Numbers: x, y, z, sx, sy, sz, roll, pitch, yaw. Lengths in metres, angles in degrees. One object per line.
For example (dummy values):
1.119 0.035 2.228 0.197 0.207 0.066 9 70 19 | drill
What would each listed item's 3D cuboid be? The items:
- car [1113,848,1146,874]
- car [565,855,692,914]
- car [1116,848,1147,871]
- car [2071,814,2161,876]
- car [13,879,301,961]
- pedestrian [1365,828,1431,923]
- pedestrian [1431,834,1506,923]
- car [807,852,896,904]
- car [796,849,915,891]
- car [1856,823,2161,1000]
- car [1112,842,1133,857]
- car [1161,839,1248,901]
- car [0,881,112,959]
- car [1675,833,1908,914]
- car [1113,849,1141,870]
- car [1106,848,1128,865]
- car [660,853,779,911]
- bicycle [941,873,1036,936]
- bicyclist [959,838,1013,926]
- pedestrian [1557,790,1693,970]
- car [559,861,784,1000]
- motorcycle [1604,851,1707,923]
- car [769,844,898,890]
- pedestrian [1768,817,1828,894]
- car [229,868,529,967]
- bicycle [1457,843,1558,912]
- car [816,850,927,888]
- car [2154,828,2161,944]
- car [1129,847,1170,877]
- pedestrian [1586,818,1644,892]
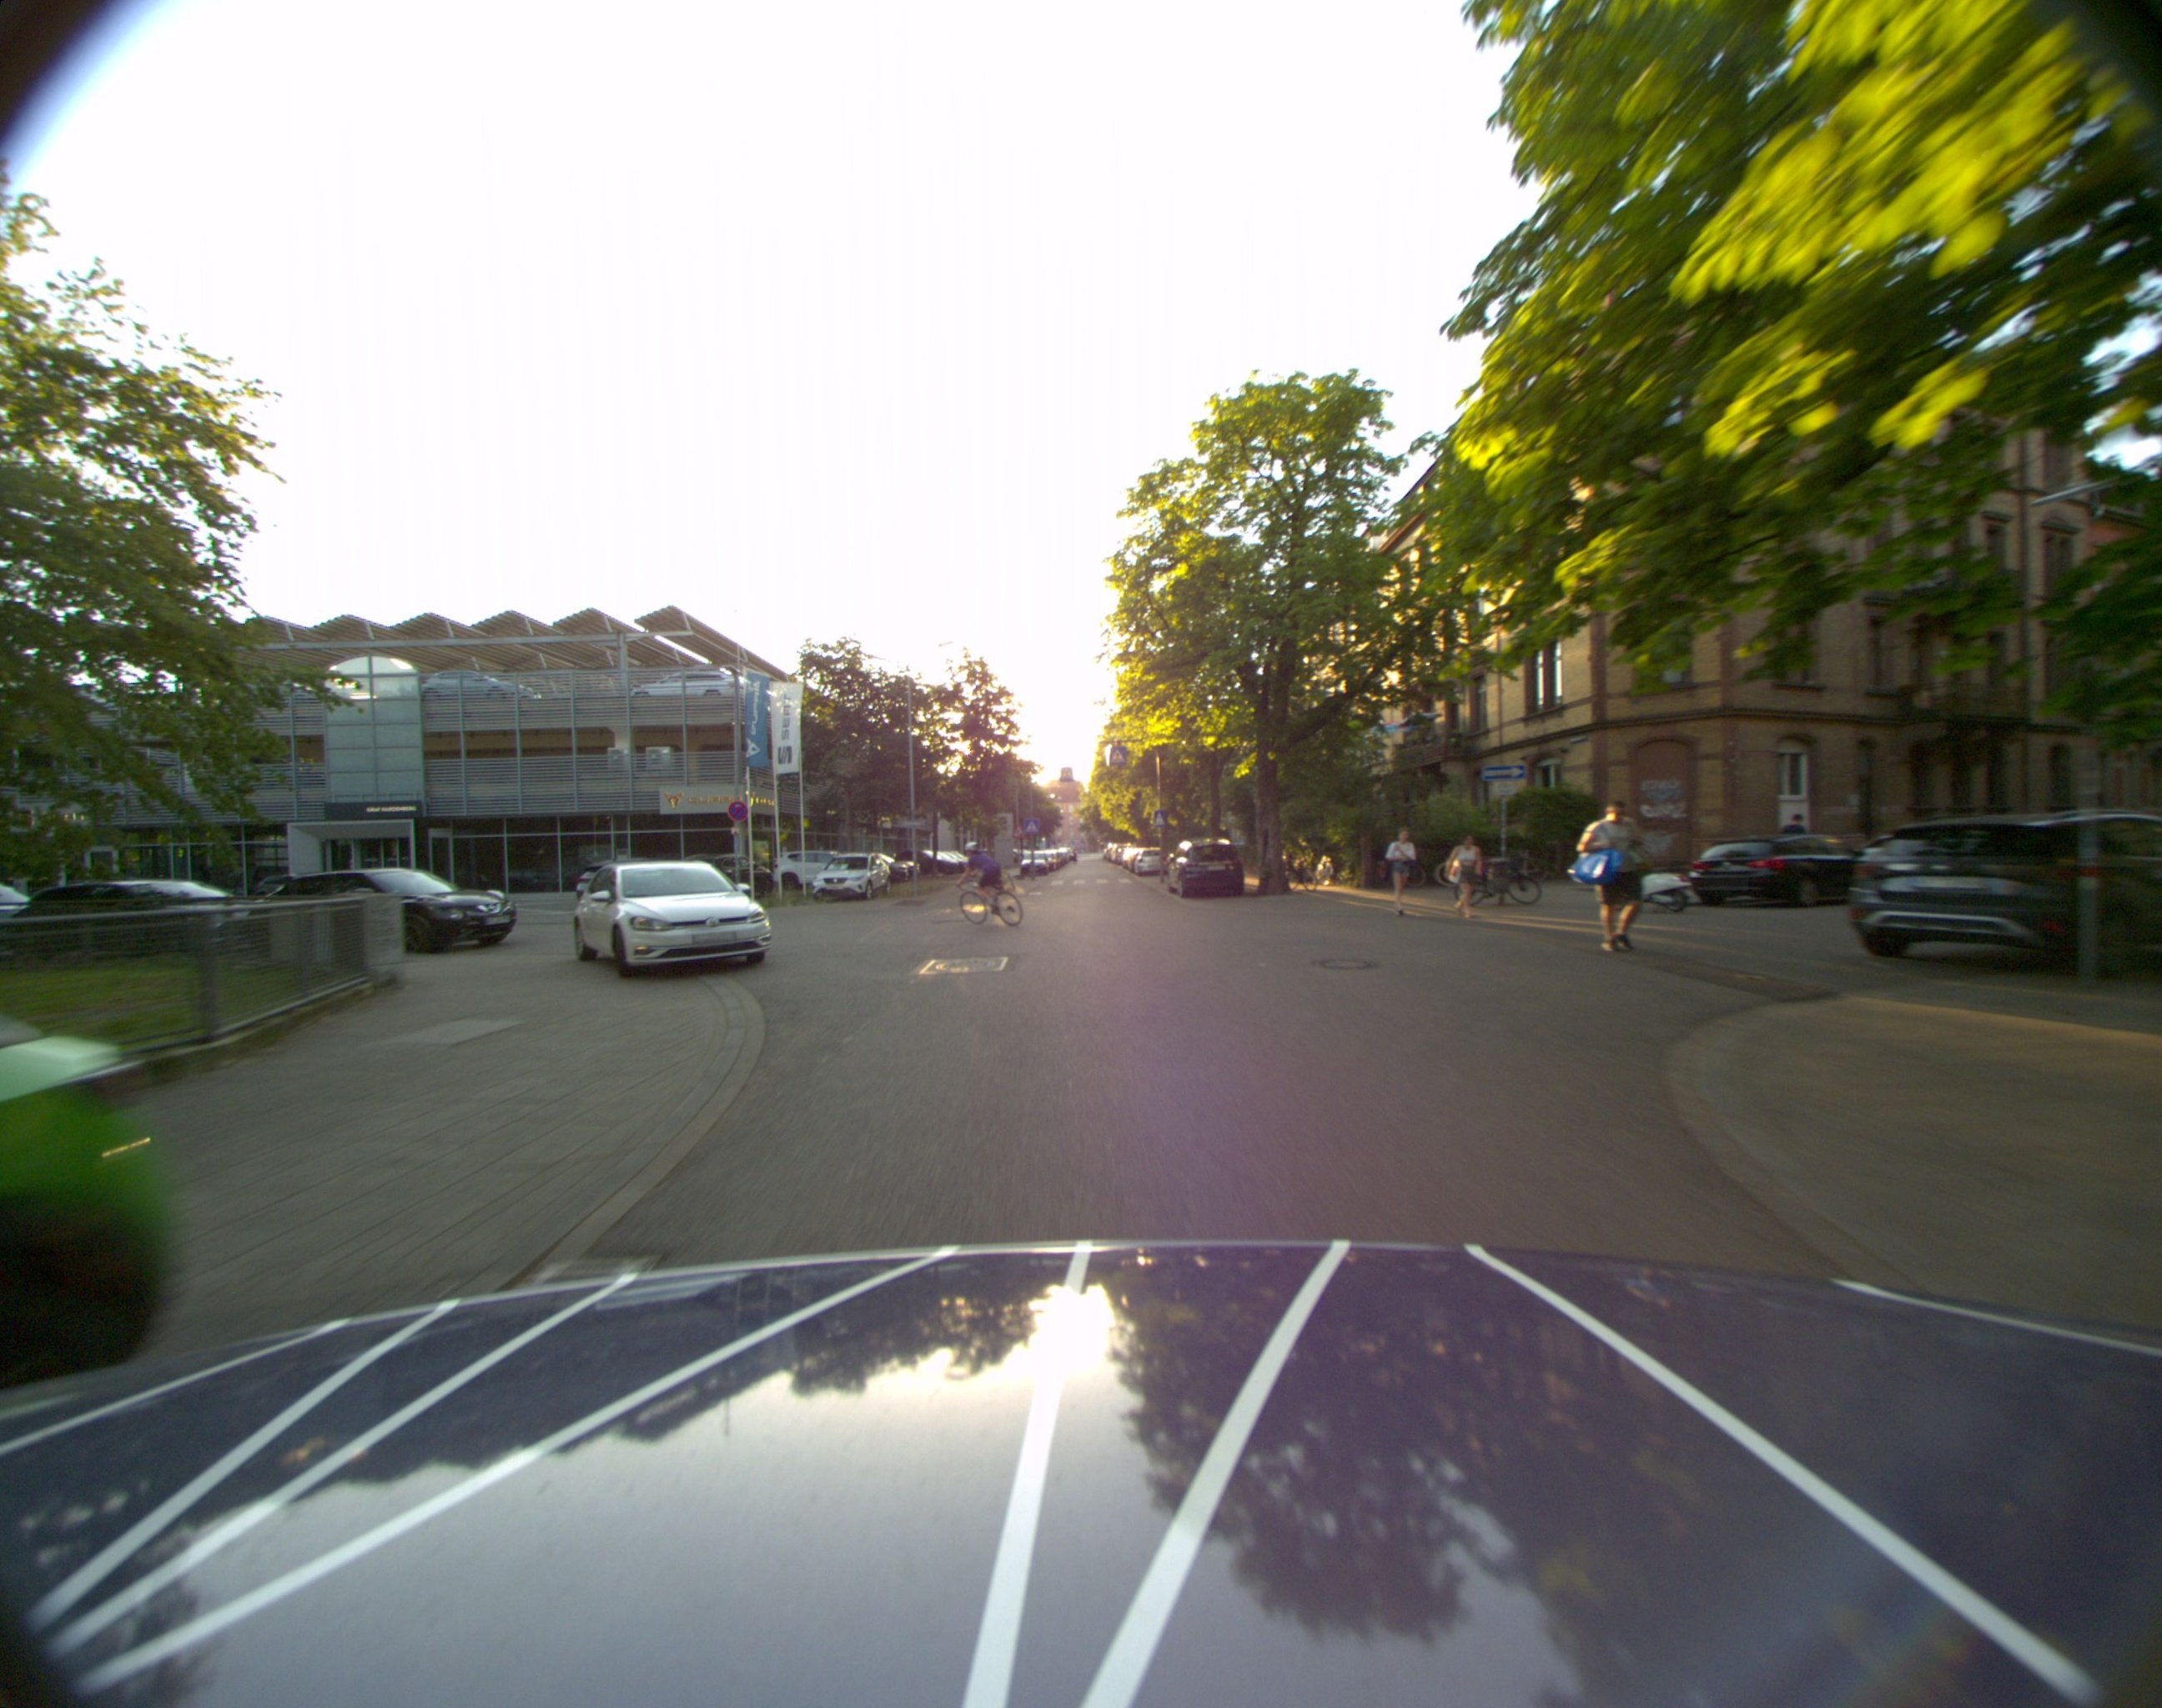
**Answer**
2.950 0.413 46.917 1.617 1.433 4.310 -3 0 -2 | car
-14.791 0.925 25.099 1.704 1.583 3.693 -2 3 5 | car
3.432 0.375 52.192 1.617 1.433 4.310 -3 0 -2 | car
29.291 -0.263 20.714 4.123 1.562 1.577 -1 0 -20 | car
-18.196 1.271 15.078 3.781 1.426 1.633 -2 0 2 | car
6.345 0.402 15.233 0.688 1.824 1.007 -2 1 -26 | pedestrian
7.397 0.444 14.535 0.688 1.621 1.051 -2 1 -26 | pedestrian
-7.525 0.732 25.313 1.767 1.563 3.902 -2 0 0 | car
-9.809 0.671 33.242 4.588 1.607 1.872 -2 0 -1 | car
10.451 0.477 8.021 3.861 1.536 1.631 -1 0 -19 | car
4.064 -0.429 74.839 1.617 1.433 4.104 -3 0 -2 | car
3.731 0.453 23.755 1.871 1.678 4.591 -3 0 0 | car
-22.268 1.339 15.219 3.683 1.426 1.633 -2 0 2 | car
14.450 0.361 15.479 4.022 1.450 1.784 -1 0 -20 | car
3.407 0.385 56.954 1.617 1.433 4.104 -3 0 -2 | car
3.309 0.246 69.943 1.617 1.433 4.104 -3 0 -2 | car
-11.787 0.854 25.109 1.716 1.596 4.127 -2 1 3 | car
-1.732 0.896 14.026 1.901 1.028 0.540 0 3 40 | bicycle
-1.758 0.508 14.023 0.821 1.568 0.511 -2 0 36 | bicyclist
6.478 0.281 9.086 0.869 2.002 1.007 -1 1 -20 | pedestrian
-5.903 0.917 10.694 1.816 1.492 4.161 -2 0 -42 | car
10.827 0.595 14.400 0.472 1.249 1.861 -2 0 -2 | motorcycle
-10.019 0.512 30.994 4.588 1.634 1.872 -2 0 -1 | car
17.581 0.024 18.647 0.792 1.814 0.687 -3 4 3 | pedestrian
-12.497 1.105 13.684 3.939 1.536 1.633 -2 1 4 | car
9.064 0.495 16.193 1.797 1.385 0.518 -2 3 11 | bicycle
-9.750 0.671 35.611 4.588 1.563 1.872 -2 0 -1 | car
15.248 0.320 9.355 3.336 1.450 1.465 -2 0 -19 | car
3.719 0.421 41.727 1.617 1.433 3.753 -4 0 -3 | car
13.607 0.008 19.385 0.925 1.814 0.779 -4 4 -11 | pedestrian
